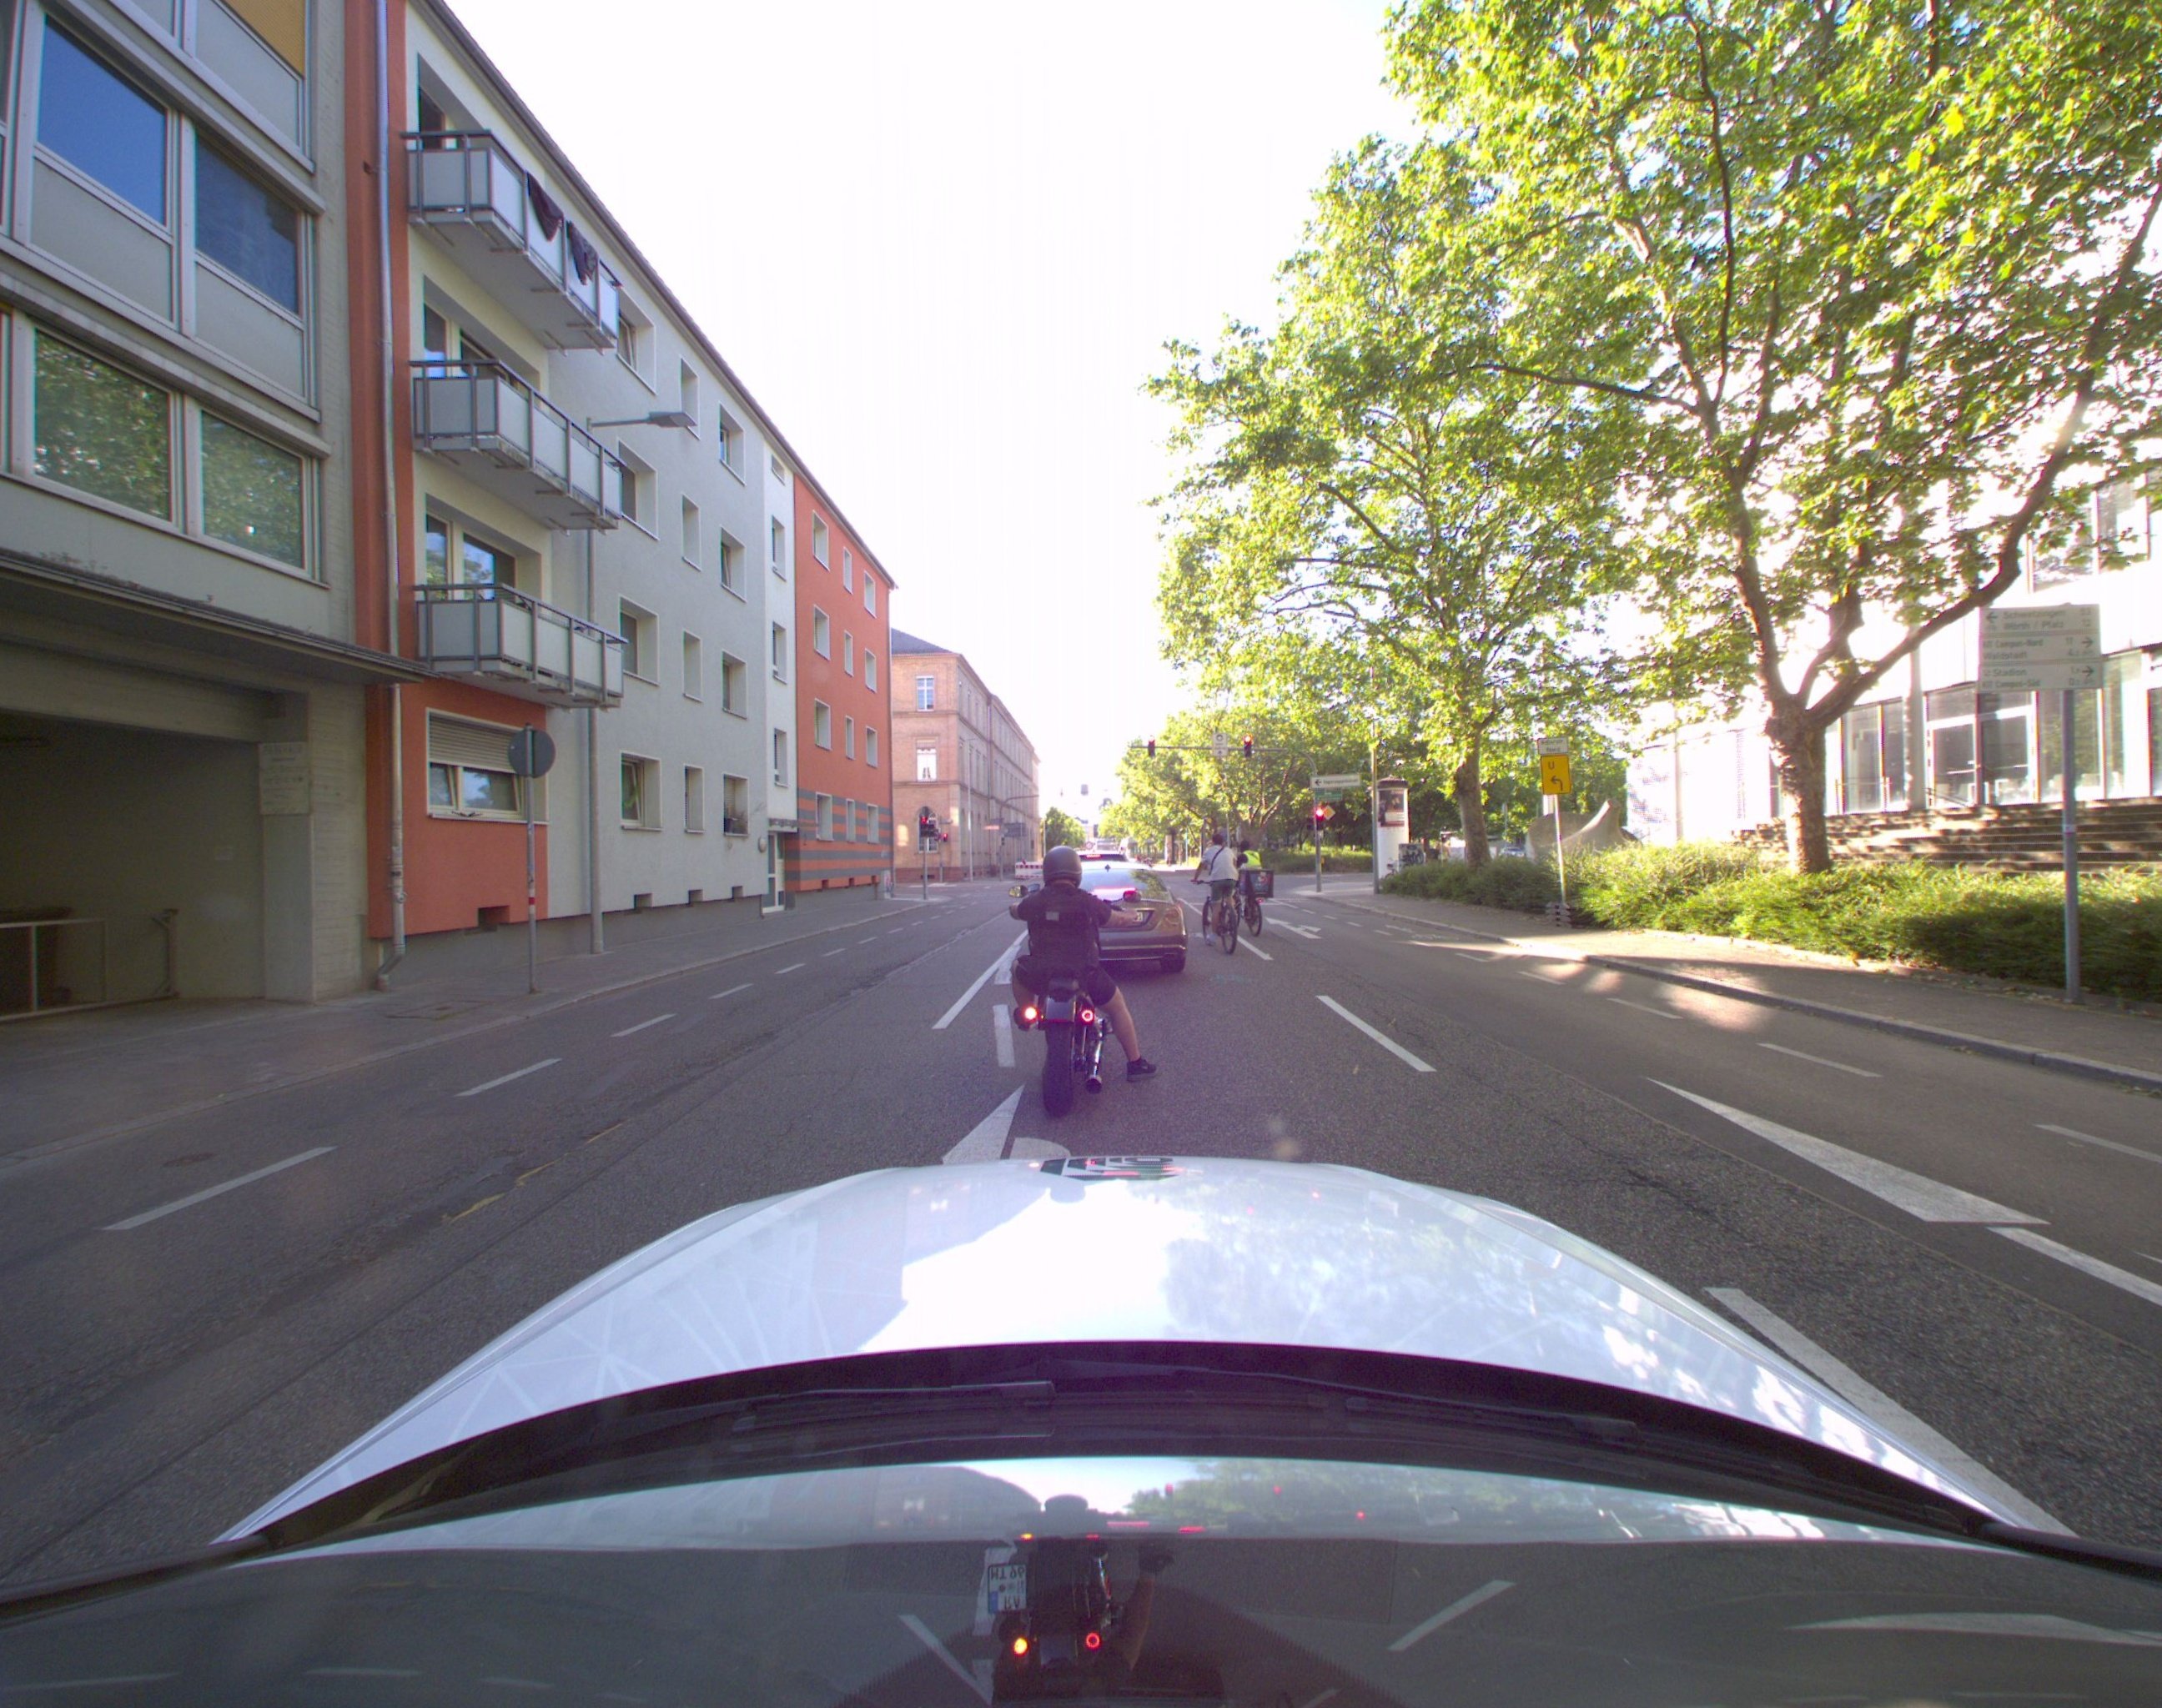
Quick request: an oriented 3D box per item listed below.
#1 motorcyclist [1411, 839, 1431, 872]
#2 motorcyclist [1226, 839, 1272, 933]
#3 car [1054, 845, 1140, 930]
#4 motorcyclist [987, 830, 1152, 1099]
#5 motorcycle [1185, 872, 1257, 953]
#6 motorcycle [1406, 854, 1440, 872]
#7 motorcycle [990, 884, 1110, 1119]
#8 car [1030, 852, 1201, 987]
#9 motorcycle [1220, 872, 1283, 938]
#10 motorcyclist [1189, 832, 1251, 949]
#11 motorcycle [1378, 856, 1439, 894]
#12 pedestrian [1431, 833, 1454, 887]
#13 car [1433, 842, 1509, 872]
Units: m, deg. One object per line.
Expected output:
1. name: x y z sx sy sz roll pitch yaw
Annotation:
1. motorcyclist: 19.657 0.099 47.101 0.978 1.876 0.377 -1 -1 6
2. motorcyclist: 3.182 0.599 15.487 0.714 1.743 0.751 0 -1 1
3. car: 0.376 0.664 17.797 1.645 1.652 4.002 0 -1 2
4. motorcyclist: -0.052 0.669 5.458 0.986 1.611 1.121 0 -1 1
5. motorcycle: 2.177 0.879 12.930 0.859 1.168 1.930 0 -1 2
6. motorcycle: 19.763 0.536 47.073 1.710 1.002 0.416 -1 0 6
7. motorcycle: -0.140 0.855 5.551 0.657 1.240 2.058 0 -1 2
8. car: 0.262 0.743 11.254 1.821 1.486 4.325 0 0 -5
9. motorcycle: 3.217 0.927 15.581 0.794 1.131 2.237 0 -1 2
10. motorcyclist: 2.193 0.566 12.950 0.828 1.788 0.913 0 -1 1
11. motorcycle: 11.072 0.711 27.554 1.771 1.243 0.724 0 -1 7
12. pedestrian: 12.580 0.209 28.375 0.642 1.827 0.670 -1 0 18
13. car: 24.629 0.205 51.533 3.974 1.772 1.738 -1 0 -1
